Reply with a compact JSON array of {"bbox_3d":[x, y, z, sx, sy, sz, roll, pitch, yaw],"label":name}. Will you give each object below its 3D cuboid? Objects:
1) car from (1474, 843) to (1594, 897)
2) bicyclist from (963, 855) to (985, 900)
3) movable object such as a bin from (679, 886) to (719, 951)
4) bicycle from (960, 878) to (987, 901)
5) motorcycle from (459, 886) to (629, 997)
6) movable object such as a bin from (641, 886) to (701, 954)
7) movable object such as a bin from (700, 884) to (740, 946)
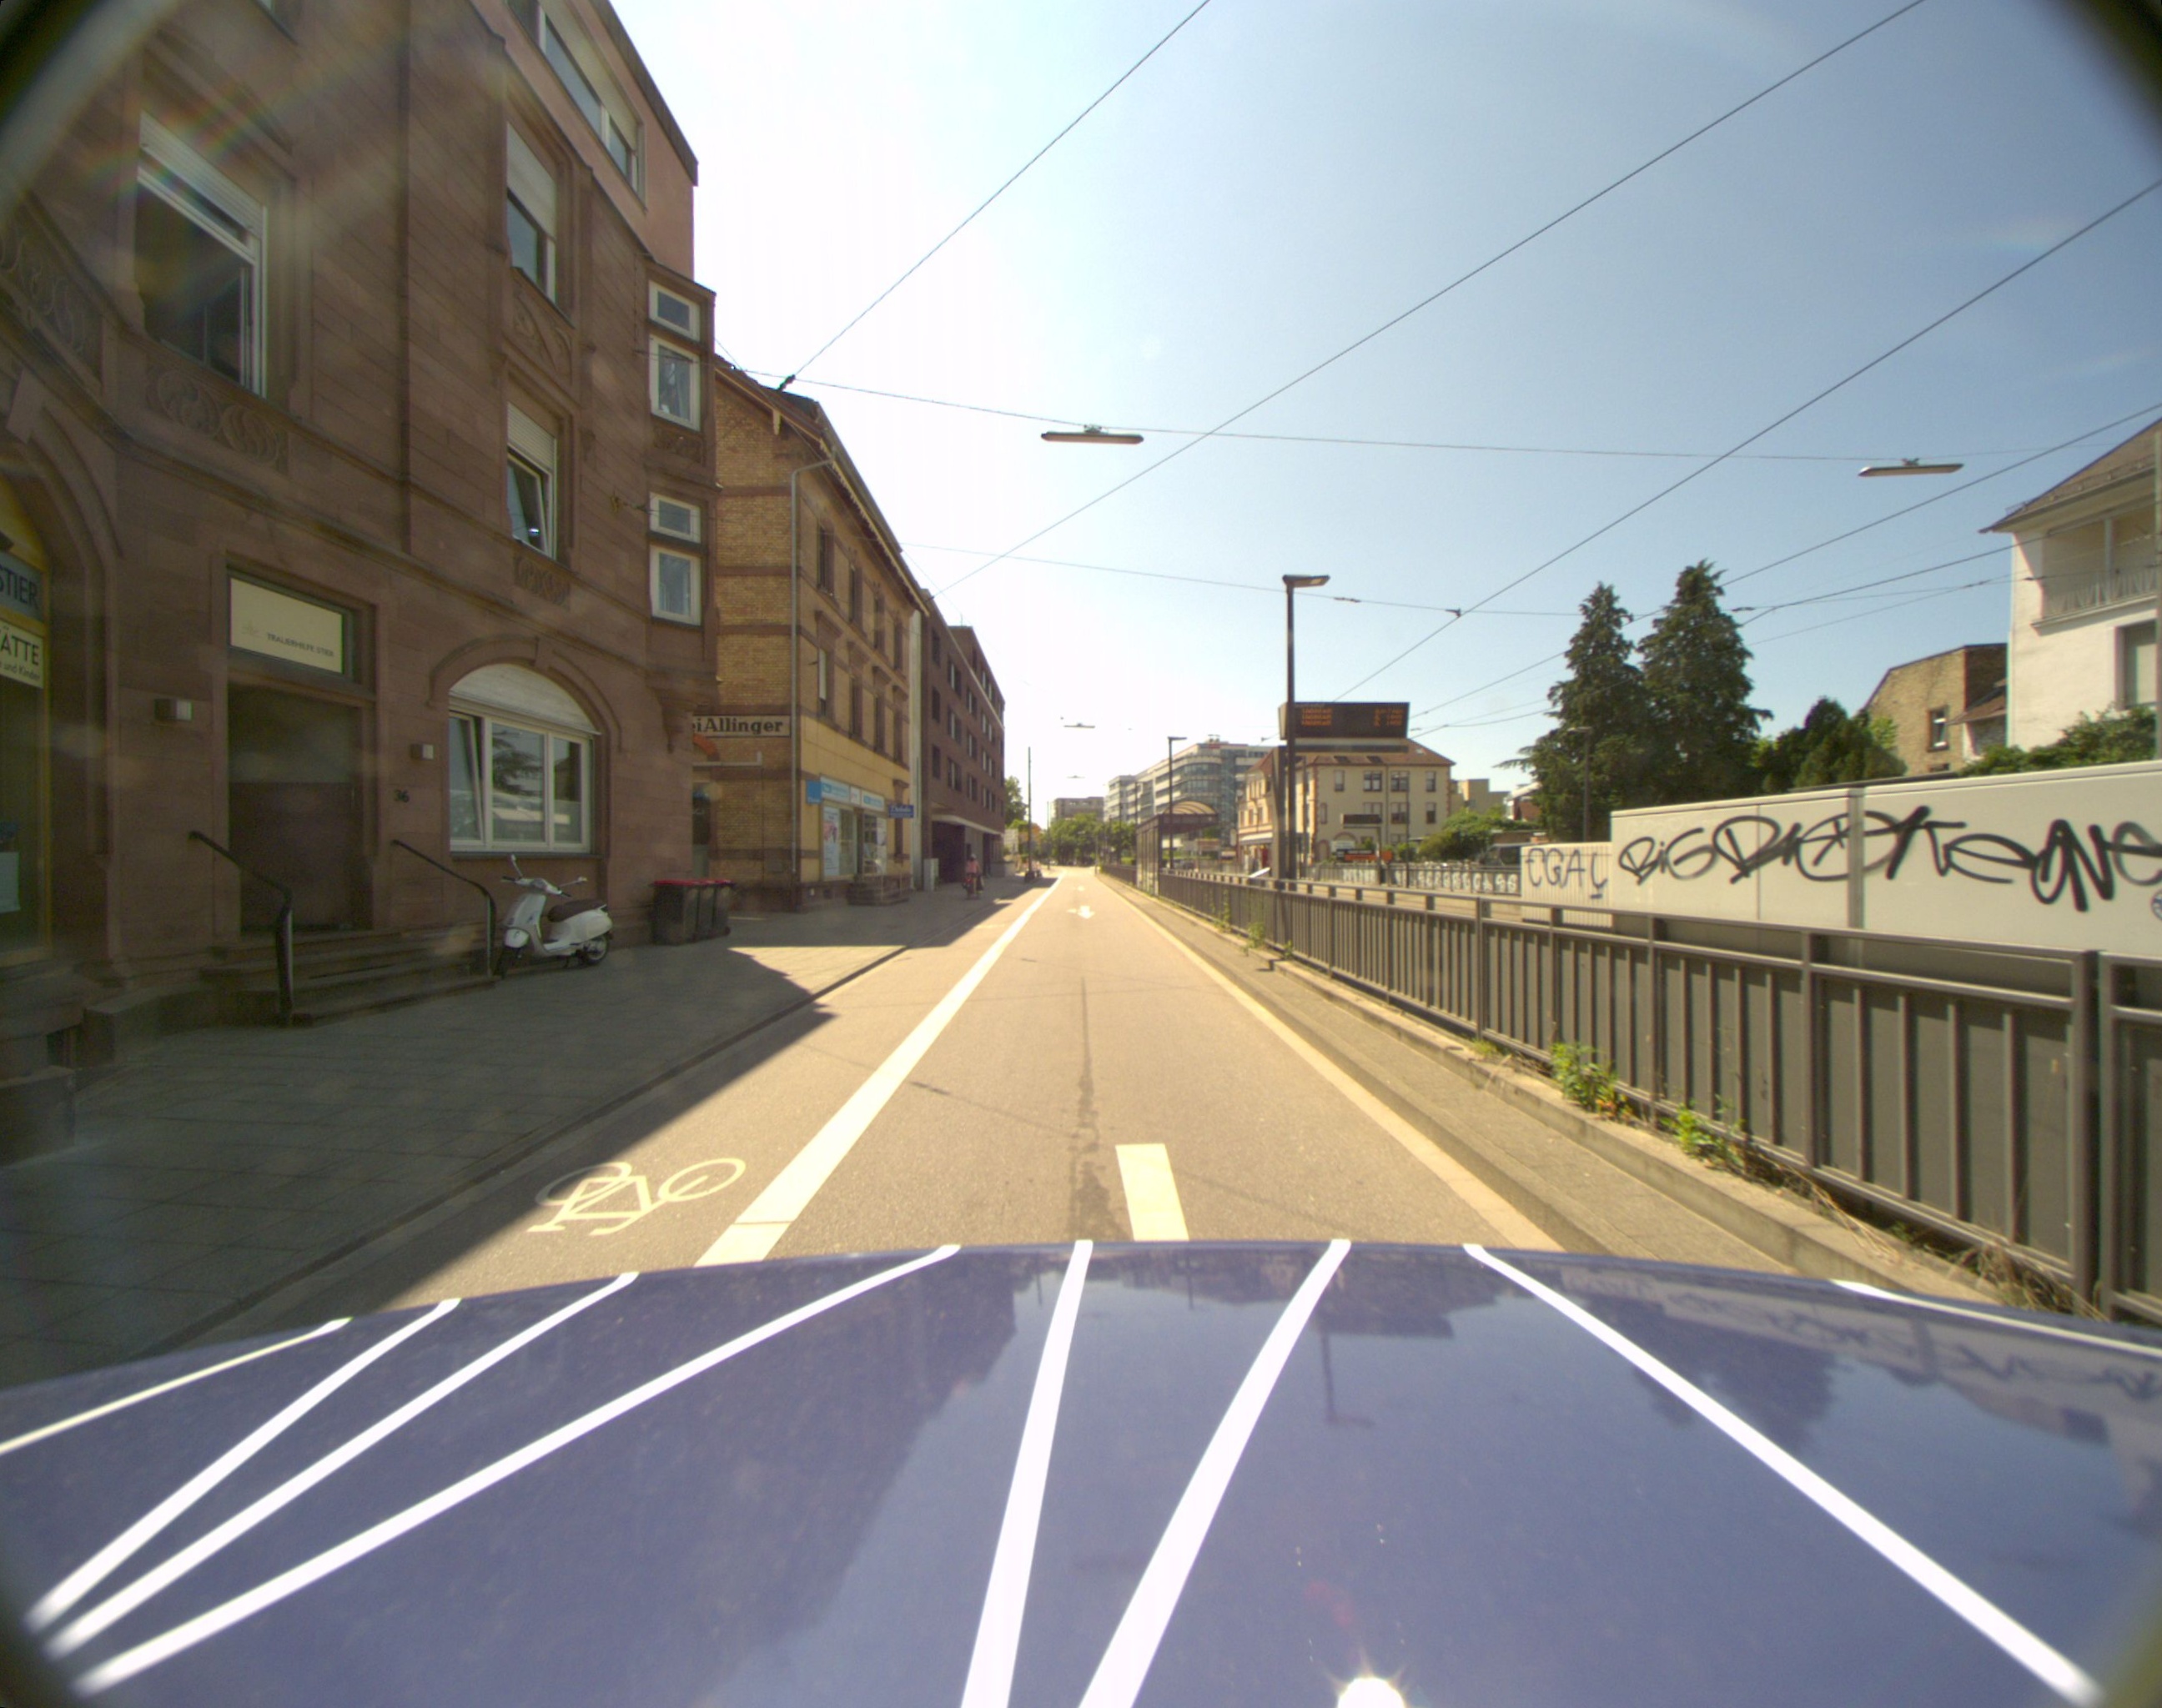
[{"bbox_3d":[16.624,0.545,28.128,1.999,1.827,3.999,-1,0,-1],"label":"car"},{"bbox_3d":[-4.118,0.894,29.351,0.671,1.712,0.928,-1,0,2],"label":"bicyclist"},{"bbox_3d":[-6.528,1.091,12.989,0.376,1.042,0.559,2,0,0],"label":"movable object such as a bin"},{"bbox_3d":[-4.117,1.349,29.319,0.689,0.793,1.908,-1,0,2],"label":"bicycle"},{"bbox_3d":[-6.446,0.995,9.269,0.527,1.142,1.881,0,0,8],"label":"motorcycle"},{"bbox_3d":[-6.689,1.072,12.406,0.649,1.042,0.559,2,0,0],"label":"movable object such as a bin"},{"bbox_3d":[-6.476,1.082,13.638,0.376,1.042,0.657,2,0,0],"label":"movable object such as a bin"}]
